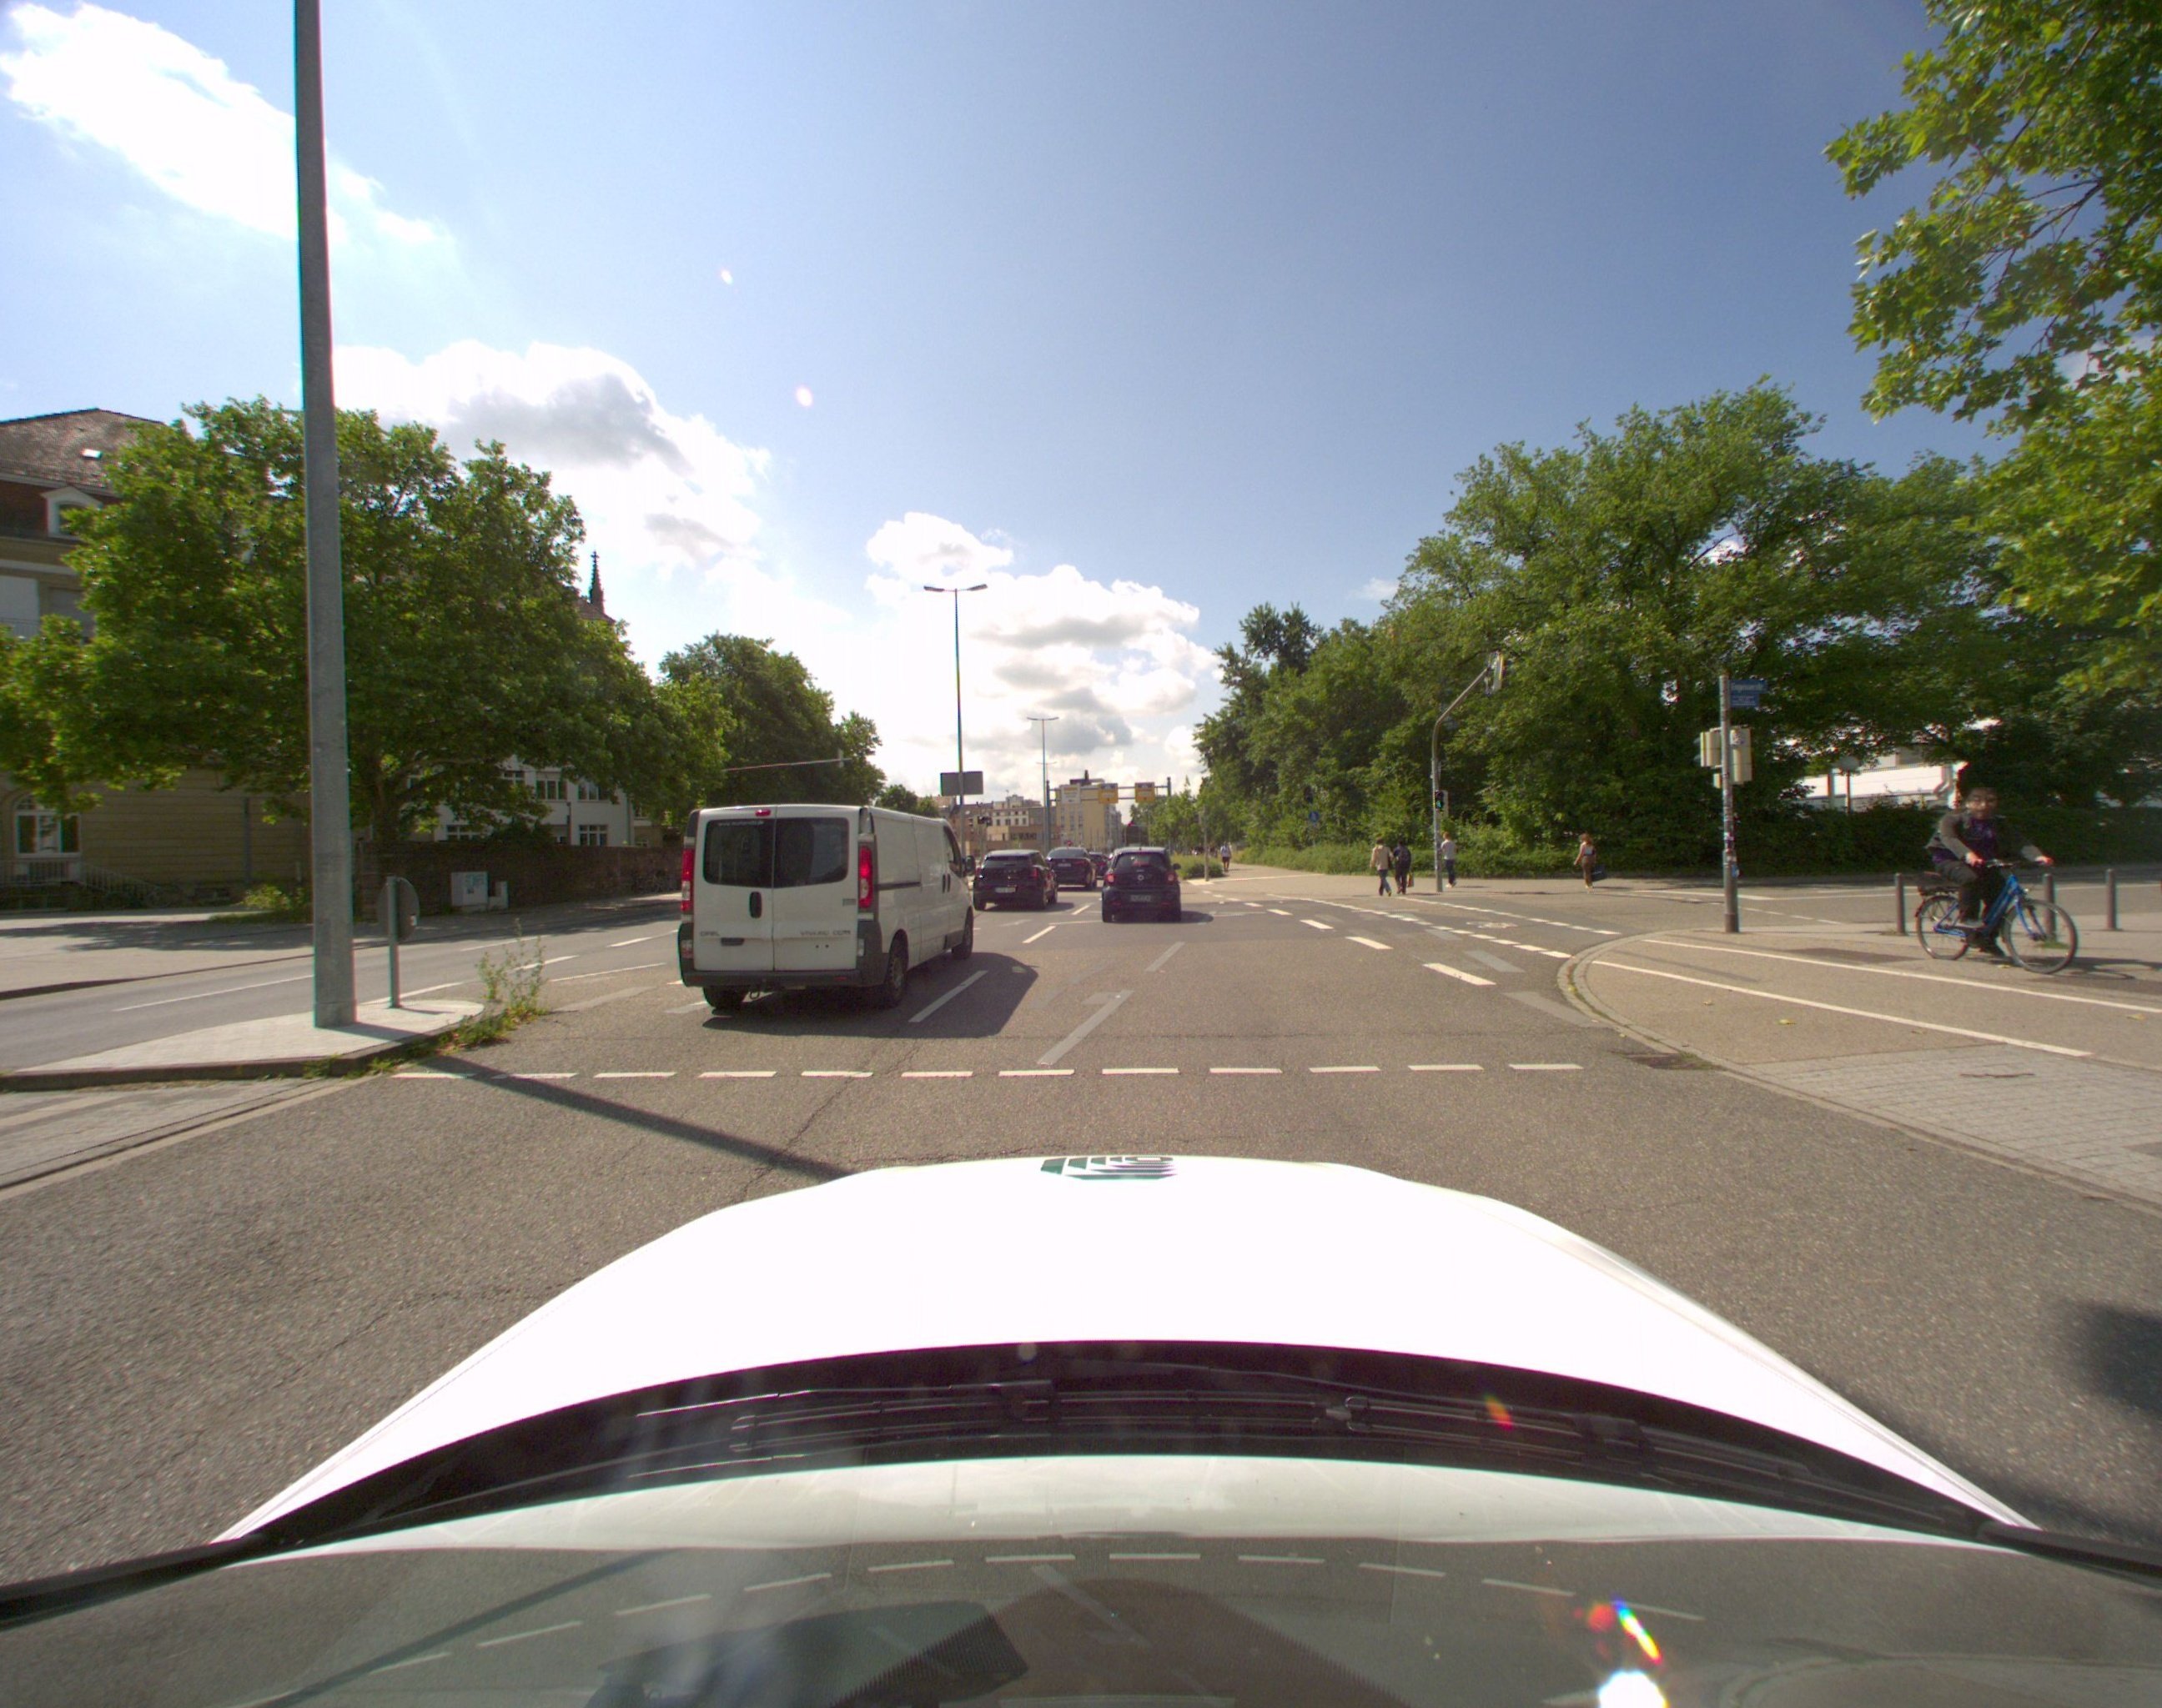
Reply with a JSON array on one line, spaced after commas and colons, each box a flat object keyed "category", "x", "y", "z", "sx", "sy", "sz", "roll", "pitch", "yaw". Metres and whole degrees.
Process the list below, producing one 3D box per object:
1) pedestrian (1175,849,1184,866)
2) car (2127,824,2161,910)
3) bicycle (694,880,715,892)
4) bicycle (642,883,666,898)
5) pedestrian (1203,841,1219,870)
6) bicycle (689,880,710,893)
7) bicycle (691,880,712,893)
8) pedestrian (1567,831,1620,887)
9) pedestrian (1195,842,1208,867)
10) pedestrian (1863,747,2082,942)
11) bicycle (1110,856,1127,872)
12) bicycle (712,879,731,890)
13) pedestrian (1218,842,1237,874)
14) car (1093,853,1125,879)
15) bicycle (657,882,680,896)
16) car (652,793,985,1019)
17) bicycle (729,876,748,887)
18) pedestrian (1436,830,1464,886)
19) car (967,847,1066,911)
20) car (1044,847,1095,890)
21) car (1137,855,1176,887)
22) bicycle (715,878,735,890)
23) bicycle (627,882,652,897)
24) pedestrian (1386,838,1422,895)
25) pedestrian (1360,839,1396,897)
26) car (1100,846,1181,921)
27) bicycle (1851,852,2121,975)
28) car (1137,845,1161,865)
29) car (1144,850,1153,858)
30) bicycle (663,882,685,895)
[{"category": "pedestrian", "x": 11.010, "y": 0.390, "z": 91.069, "sx": 0.835, "sy": 1.969, "sz": 0.861, "roll": -2, "pitch": 0, "yaw": 0}, {"category": "car", "x": 20.033, "y": 0.116, "z": 12.843, "sx": 4.918, "sy": 1.400, "sz": 1.723, "roll": -2, "pitch": -2, "yaw": -2}, {"category": "bicycle", "x": -21.289, "y": 1.802, "z": 46.082, "sx": 1.012, "sy": 0.682, "sz": 0.404, "roll": 0, "pitch": -1, "yaw": -39}, {"category": "bicycle", "x": -20.671, "y": 1.752, "z": 39.454, "sx": 1.009, "sy": 0.682, "sz": 0.405, "roll": 0, "pitch": -1, "yaw": -26}, {"category": "pedestrian", "x": 8.727, "y": 0.086, "z": 54.613, "sx": 0.835, "sy": 1.868, "sz": 1.019, "roll": -2, "pitch": 0, "yaw": 0}, {"category": "bicycle", "x": -20.921, "y": 1.792, "z": 44.674, "sx": 1.012, "sy": 0.682, "sz": 0.404, "roll": 0, "pitch": -1, "yaw": -39}, {"category": "bicycle", "x": -21.125, "y": 1.797, "z": 45.331, "sx": 1.012, "sy": 0.682, "sz": 0.404, "roll": 0, "pitch": -1, "yaw": -39}, {"category": "pedestrian", "x": 15.722, "y": 0.147, "z": 24.999, "sx": 0.857, "sy": 1.626, "sz": 1.014, "roll": -3, "pitch": 1, "yaw": -19}, {"category": "pedestrian", "x": 9.436, "y": 0.045, "z": 63.778, "sx": 0.835, "sy": 1.969, "sz": 0.861, "roll": -2, "pitch": 0, "yaw": 0}, {"category": "pedestrian", "x": 9.244, "y": -0.083, "z": 8.530, "sx": 0.848, "sy": 1.820, "sz": 1.179, "roll": -6, "pitch": -2, "yaw": 10}, {"category": "bicycle", "x": 4.717, "y": 1.230, "z": 103.343, "sx": 1.987, "sy": 2.014, "sz": 3.999, "roll": 0, "pitch": -1, "yaw": 0}, {"category": "bicycle", "x": -21.579, "y": 1.824, "z": 48.902, "sx": 1.012, "sy": 0.682, "sz": 0.404, "roll": 0, "pitch": -1, "yaw": -39}, {"category": "pedestrian", "x": 8.204, "y": 0.236, "z": 45.658, "sx": 0.848, "sy": 1.701, "sz": 0.932, "roll": -3, "pitch": -1, "yaw": 2}, {"category": "car", "x": 1.478, "y": 0.614, "z": 43.457, "sx": 1.605, "sy": 1.325, "sz": 3.519, "roll": -1, "pitch": 0, "yaw": 2}, {"category": "bicycle", "x": -20.694, "y": 1.763, "z": 40.849, "sx": 1.009, "sy": 0.682, "sz": 0.405, "roll": 0, "pitch": -1, "yaw": -26}, {"category": "car", "x": -2.599, "y": 0.457, "z": 9.687, "sx": 1.997, "sy": 1.955, "sz": 5.198, "roll": 0, "pitch": 0, "yaw": 3}, {"category": "bicycle", "x": -22.099, "y": 1.783, "z": 52.554, "sx": 1.012, "sy": 0.682, "sz": 0.404, "roll": 0, "pitch": -1, "yaw": -39}, {"category": "pedestrian", "x": 12.213, "y": 0.115, "z": 26.958, "sx": 0.666, "sy": 1.821, "sz": 0.705, "roll": -1, "pitch": 0, "yaw": 10}, {"category": "car", "x": -1.644, "y": 0.612, "z": 22.541, "sx": 2.008, "sy": 1.530, "sz": 4.892, "roll": -1, "pitch": 0, "yaw": 4}, {"category": "car", "x": -0.388, "y": 0.556, "z": 32.695, "sx": 1.820, "sy": 1.601, "sz": 4.395, "roll": 0, "pitch": 0, "yaw": 2}, {"category": "car", "x": 3.515, "y": 0.792, "z": 38.273, "sx": 1.605, "sy": 1.411, "sz": 3.518, "roll": 0, "pitch": -1, "yaw": 2}, {"category": "bicycle", "x": -21.650, "y": 1.828, "z": 49.521, "sx": 1.012, "sy": 0.682, "sz": 0.404, "roll": 0, "pitch": -1, "yaw": -39}, {"category": "bicycle", "x": -20.293, "y": 1.631, "z": 37.442, "sx": 1.009, "sy": 0.682, "sz": 0.405, "roll": 0, "pitch": -1, "yaw": -26}, {"category": "pedestrian", "x": 10.017, "y": 0.372, "z": 25.277, "sx": 0.790, "sy": 1.704, "sz": 1.186, "roll": -1, "pitch": 0, "yaw": 10}, {"category": "pedestrian", "x": 8.949, "y": 0.398, "z": 24.562, "sx": 0.790, "sy": 1.704, "sz": 1.186, "roll": -1, "pitch": 0, "yaw": 10}, {"category": "car", "x": 1.263, "y": 0.602, "z": 18.079, "sx": 1.605, "sy": 1.485, "sz": 3.519, "roll": -1, "pitch": 0, "yaw": 2}, {"category": "bicycle", "x": 9.248, "y": 0.563, "z": 8.477, "sx": 0.810, "sy": 1.072, "sz": 1.896, "roll": -5, "pitch": -2, "yaw": 10}, {"category": "car", "x": 4.968, "y": 0.090, "z": 59.578, "sx": 1.605, "sy": 1.411, "sz": 3.519, "roll": 0, "pitch": 0, "yaw": 2}, {"category": "car", "x": 15.361, "y": -0.005, "z": 184.309, "sx": 1.934, "sy": 1.963, "sz": 3.956, "roll": 0, "pitch": -1, "yaw": 6}, {"category": "bicycle", "x": -21.011, "y": 1.771, "z": 42.010, "sx": 1.009, "sy": 0.682, "sz": 0.405, "roll": 0, "pitch": -1, "yaw": -26}]
